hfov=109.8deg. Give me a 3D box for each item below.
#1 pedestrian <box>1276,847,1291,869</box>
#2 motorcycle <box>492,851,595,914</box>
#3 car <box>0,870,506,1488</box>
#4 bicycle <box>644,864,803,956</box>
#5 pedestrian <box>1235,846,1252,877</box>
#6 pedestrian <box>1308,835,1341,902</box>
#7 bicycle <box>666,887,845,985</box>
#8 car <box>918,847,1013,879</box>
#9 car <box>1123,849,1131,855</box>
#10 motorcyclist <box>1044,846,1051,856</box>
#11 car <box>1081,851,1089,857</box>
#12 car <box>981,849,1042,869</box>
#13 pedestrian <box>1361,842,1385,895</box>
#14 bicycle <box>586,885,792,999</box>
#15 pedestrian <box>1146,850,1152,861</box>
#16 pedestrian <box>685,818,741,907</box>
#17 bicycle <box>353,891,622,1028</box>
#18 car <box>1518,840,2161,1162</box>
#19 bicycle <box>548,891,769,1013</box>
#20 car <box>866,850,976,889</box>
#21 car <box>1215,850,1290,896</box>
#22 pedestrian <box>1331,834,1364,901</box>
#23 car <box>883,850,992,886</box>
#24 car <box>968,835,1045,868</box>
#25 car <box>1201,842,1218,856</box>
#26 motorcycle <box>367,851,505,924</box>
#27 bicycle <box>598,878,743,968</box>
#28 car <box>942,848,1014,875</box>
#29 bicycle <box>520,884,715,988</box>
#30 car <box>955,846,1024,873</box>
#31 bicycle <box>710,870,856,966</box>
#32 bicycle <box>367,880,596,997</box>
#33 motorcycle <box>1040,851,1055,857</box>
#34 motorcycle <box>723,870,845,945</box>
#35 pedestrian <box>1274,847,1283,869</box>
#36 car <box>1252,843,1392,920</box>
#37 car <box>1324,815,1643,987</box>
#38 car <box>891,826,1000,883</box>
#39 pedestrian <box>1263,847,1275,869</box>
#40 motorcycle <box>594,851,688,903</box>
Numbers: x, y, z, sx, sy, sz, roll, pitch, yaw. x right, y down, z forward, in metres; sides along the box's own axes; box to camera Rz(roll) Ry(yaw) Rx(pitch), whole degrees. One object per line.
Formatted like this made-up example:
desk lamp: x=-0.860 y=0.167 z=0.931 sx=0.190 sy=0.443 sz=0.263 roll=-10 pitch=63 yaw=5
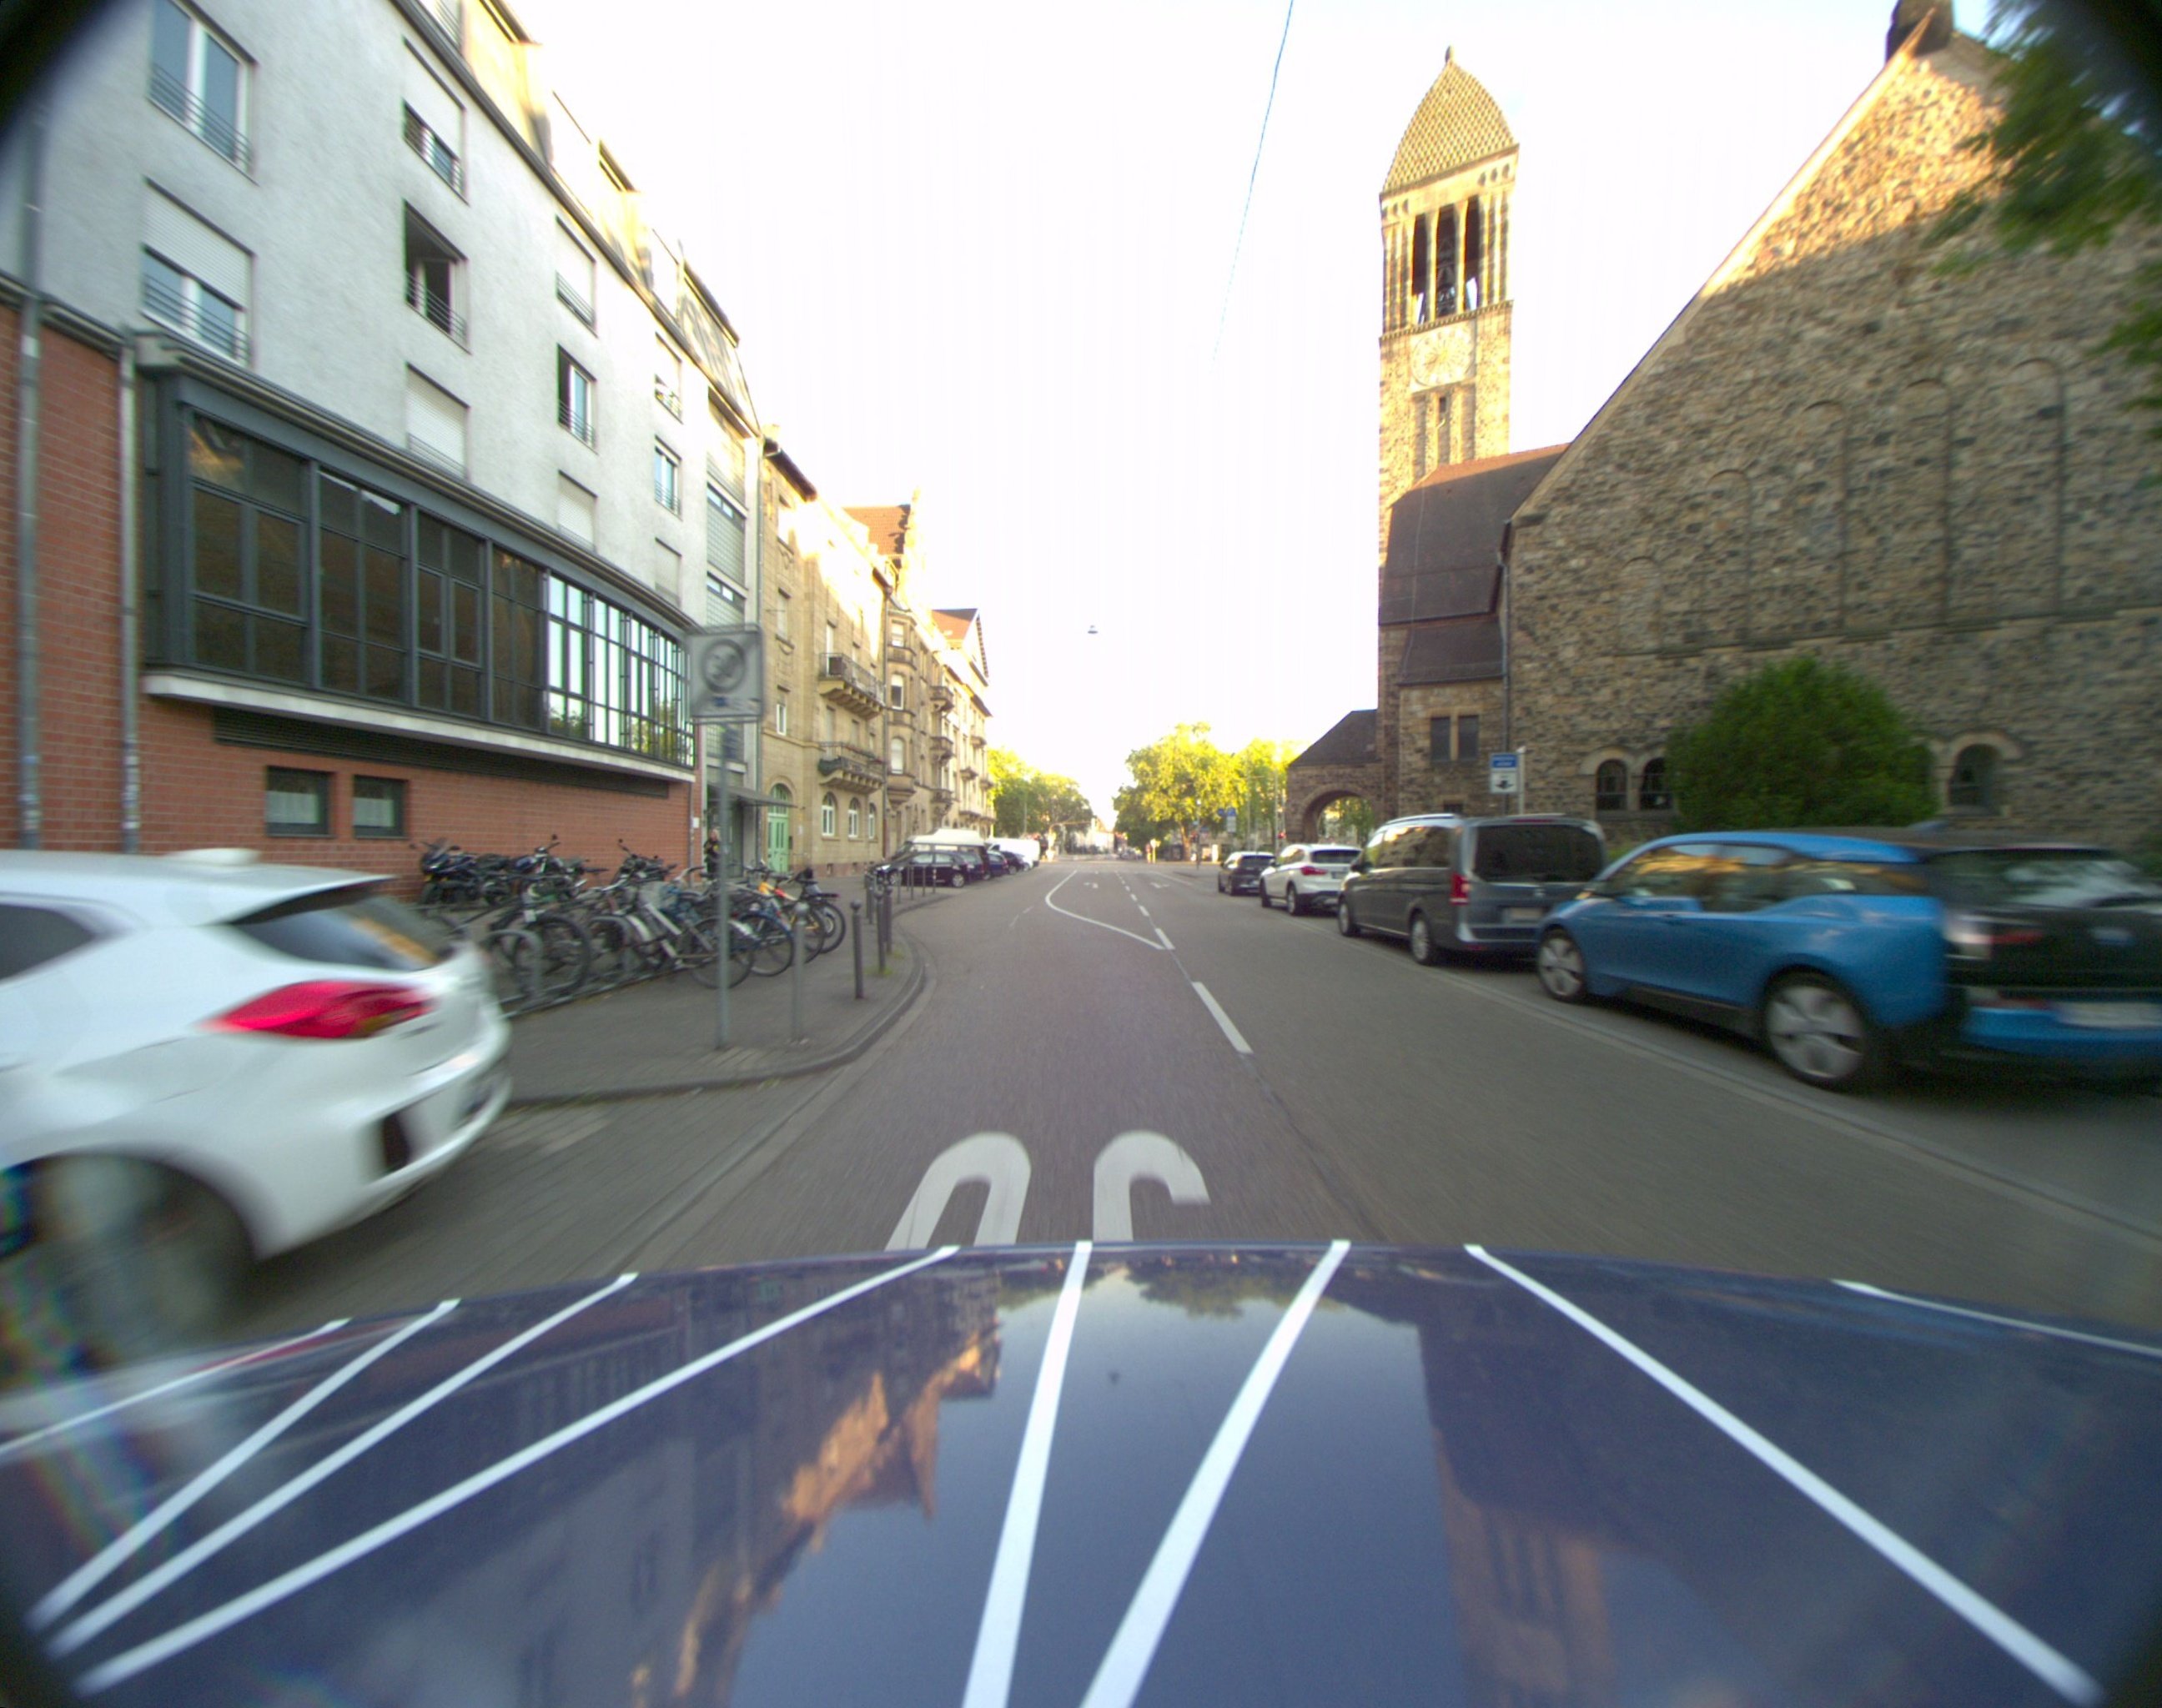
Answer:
pedestrian: x=12.762 y=0.240 z=47.808 sx=0.702 sy=1.398 sz=0.633 roll=1 pitch=1 yaw=37
motorcycle: x=-10.798 y=0.531 z=15.394 sx=0.778 sy=1.133 sz=2.413 roll=1 pitch=1 yaw=-11
car: x=-4.256 y=0.839 z=2.089 sx=4.006 sy=1.498 sz=1.766 roll=0 pitch=1 yaw=-27
bicycle: x=-4.978 y=0.770 z=10.651 sx=1.863 sy=1.139 sz=0.659 roll=3 pitch=1 yaw=1
pedestrian: x=8.856 y=0.409 z=41.434 sx=0.716 sy=1.715 sz=0.691 roll=0 pitch=1 yaw=-8
pedestrian: x=6.888 y=0.396 z=21.509 sx=0.648 sy=1.868 sz=0.891 roll=0 pitch=1 yaw=-2
bicycle: x=-3.780 y=0.946 z=8.878 sx=1.862 sy=1.032 sz=0.472 roll=2 pitch=1 yaw=0
car: x=-5.905 y=0.468 z=38.896 sx=4.406 sy=1.478 sz=1.839 roll=2 pitch=0 yaw=-29
car: x=11.268 y=-0.523 z=185.878 sx=1.827 sy=1.565 sz=4.001 roll=0 pitch=0 yaw=6
motorcyclist: x=-5.058 y=-0.435 z=114.891 sx=0.830 sy=1.511 sz=0.621 roll=0 pitch=1 yaw=-24
car: x=1.006 y=0.023 z=191.334 sx=1.793 sy=1.571 sz=4.001 roll=0 pitch=0 yaw=5
car: x=-5.405 y=0.420 z=59.167 sx=4.263 sy=1.445 sz=1.994 roll=1 pitch=1 yaw=-37
pedestrian: x=9.011 y=0.447 z=23.427 sx=0.416 sy=1.613 sz=0.547 roll=-1 pitch=1 yaw=-38
bicycle: x=-4.007 y=0.891 z=7.826 sx=1.862 sy=1.059 sz=0.445 roll=2 pitch=1 yaw=0
pedestrian: x=9.882 y=0.208 z=109.821 sx=0.745 sy=1.619 sz=0.661 roll=0 pitch=1 yaw=19
pedestrian: x=-8.760 y=0.187 z=18.118 sx=0.608 sy=2.002 sz=0.857 roll=9 pitch=2 yaw=2
bicycle: x=-5.123 y=0.897 z=6.613 sx=1.916 sy=1.059 sz=0.524 roll=2 pitch=1 yaw=0
car: x=5.116 y=0.694 z=5.641 sx=1.644 sy=1.546 sz=4.005 roll=0 pitch=0 yaw=4
bicycle: x=-4.032 y=0.928 z=7.308 sx=1.862 sy=1.059 sz=0.445 roll=2 pitch=1 yaw=0
car: x=-6.497 y=0.586 z=30.961 sx=4.076 sy=1.483 sz=1.719 roll=0 pitch=1 yaw=-29
car: x=5.729 y=0.584 z=25.861 sx=1.787 sy=1.427 sz=4.316 roll=0 pitch=1 yaw=3
pedestrian: x=7.559 y=0.377 z=21.574 sx=0.574 sy=1.846 sz=0.988 roll=0 pitch=1 yaw=-2
car: x=-6.298 y=0.571 z=33.456 sx=4.363 sy=1.494 sz=1.909 roll=0 pitch=1 yaw=-26
car: x=-6.040 y=-0.190 z=61.896 sx=5.897 sy=2.537 sz=2.189 roll=1 pitch=2 yaw=-39
car: x=18.337 y=-0.697 z=108.298 sx=1.865 sy=2.002 sz=3.815 roll=0 pitch=1 yaw=16
motorcycle: x=-10.924 y=0.526 z=12.984 sx=0.589 sy=1.097 sz=2.083 roll=3 pitch=1 yaw=-2
bicycle: x=-5.133 y=0.850 z=9.533 sx=1.543 sy=1.032 sz=0.472 roll=2 pitch=1 yaw=0
car: x=-6.355 y=0.461 z=47.034 sx=4.066 sy=1.490 sz=1.749 roll=2 pitch=1 yaw=-34
bicycle: x=-5.029 y=0.882 z=8.282 sx=1.862 sy=1.032 sz=0.402 roll=2 pitch=1 yaw=0
car: x=-5.982 y=0.389 z=49.875 sx=4.107 sy=1.598 sz=1.811 roll=2 pitch=1 yaw=-36
bicycle: x=-3.918 y=0.834 z=10.034 sx=1.712 sy=1.169 sz=0.472 roll=2 pitch=1 yaw=0
bicycle: x=-5.977 y=0.831 z=7.625 sx=1.862 sy=1.059 sz=0.524 roll=2 pitch=1 yaw=0
motorcycle: x=-5.073 y=0.006 z=114.888 sx=2.288 sy=0.917 sz=0.621 roll=0 pitch=1 yaw=-24
motorcycle: x=-4.669 y=0.837 z=12.020 sx=1.650 sy=1.095 sz=0.647 roll=2 pitch=1 yaw=-7
pedestrian: x=12.746 y=0.262 z=49.070 sx=0.401 sy=1.398 sz=0.549 roll=1 pitch=1 yaw=37
car: x=5.486 y=0.548 z=17.918 sx=1.876 sy=1.582 sz=4.468 roll=0 pitch=1 yaw=0
car: x=5.195 y=0.499 z=10.871 sx=1.998 sy=1.856 sz=5.290 roll=0 pitch=0 yaw=3
car: x=-6.395 y=-0.005 z=35.973 sx=4.732 sy=2.532 sz=1.913 roll=0 pitch=2 yaw=-27
pedestrian: x=12.218 y=0.244 z=49.344 sx=0.549 sy=1.445 sz=0.559 roll=1 pitch=1 yaw=37
motorcycle: x=-10.603 y=0.518 z=18.449 sx=0.801 sy=1.133 sz=2.440 roll=2 pitch=0 yaw=1
